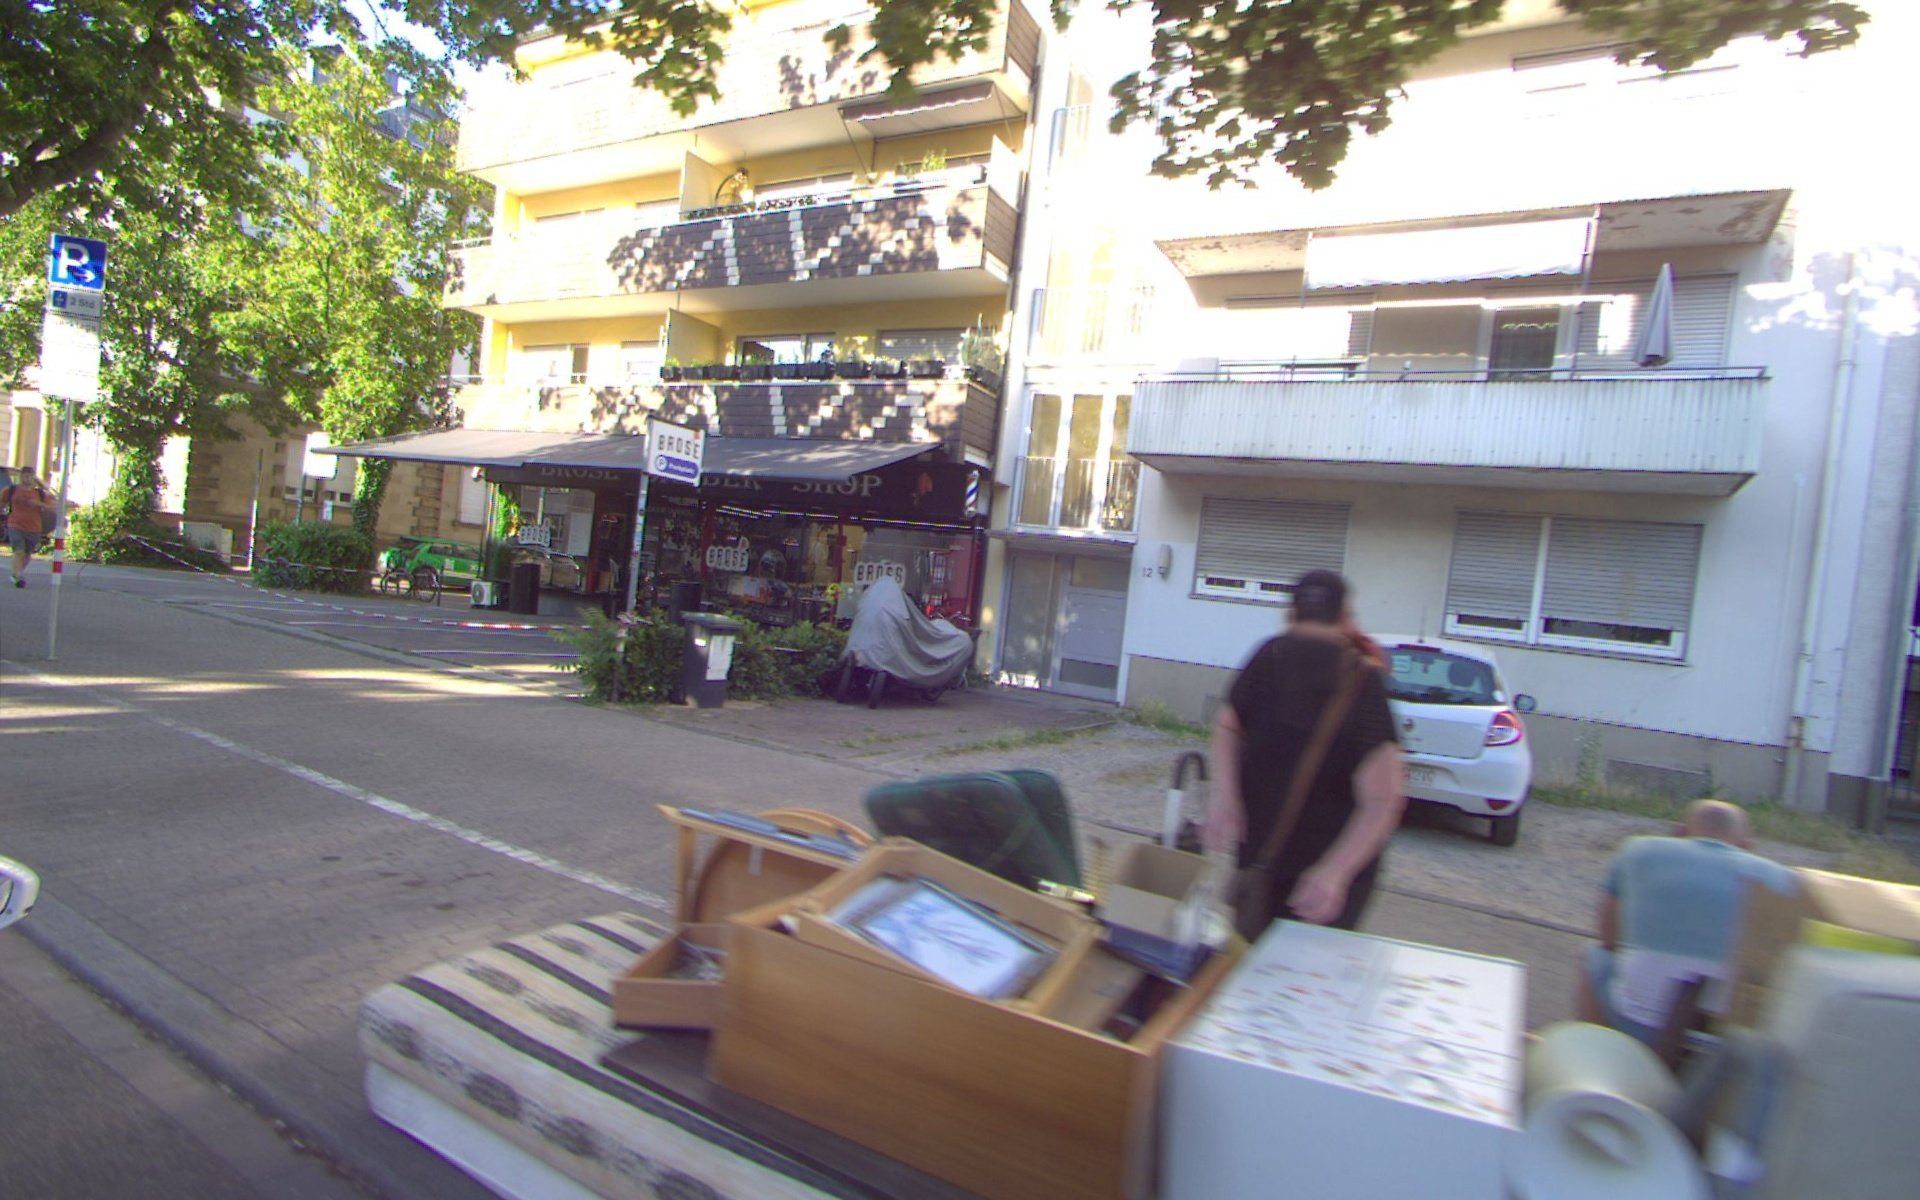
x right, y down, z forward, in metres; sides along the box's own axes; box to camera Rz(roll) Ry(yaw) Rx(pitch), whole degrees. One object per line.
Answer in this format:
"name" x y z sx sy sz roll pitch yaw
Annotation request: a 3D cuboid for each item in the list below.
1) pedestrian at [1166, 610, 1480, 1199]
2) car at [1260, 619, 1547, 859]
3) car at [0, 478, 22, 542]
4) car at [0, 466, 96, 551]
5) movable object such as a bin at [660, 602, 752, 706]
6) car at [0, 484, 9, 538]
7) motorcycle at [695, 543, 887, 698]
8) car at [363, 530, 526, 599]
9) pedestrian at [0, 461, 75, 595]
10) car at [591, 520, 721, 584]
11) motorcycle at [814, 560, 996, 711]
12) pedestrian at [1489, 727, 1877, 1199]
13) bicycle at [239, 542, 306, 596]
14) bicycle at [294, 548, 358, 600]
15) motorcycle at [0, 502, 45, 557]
"pedestrian" 0.881 0.805 2.695 0.470 1.495 1.065 7 1 12
"car" 4.135 1.097 9.229 1.793 1.480 3.994 7 0 27
"car" -26.946 -2.566 26.086 1.483 1.700 3.812 7 0 2
"car" -24.057 -2.376 24.438 1.878 1.916 4.548 7 0 4
"movable object such as a bin" -2.556 0.547 10.153 0.530 0.961 0.613 7 1 32
"car" -28.963 -2.717 27.720 1.483 1.544 3.813 7 0 9
"motorcycle" -1.949 0.289 11.946 0.720 1.641 2.193 8 1 37
"car" -15.714 -1.054 30.841 1.897 1.605 3.921 7 0 31
"pedestrian" -13.549 -1.044 14.528 0.890 1.819 0.757 7 1 26
"car" -8.964 -1.394 29.889 1.633 1.436 3.350 7 0 31
"motorcycle" -0.621 0.471 12.400 0.876 1.641 2.193 8 1 37
"pedestrian" 2.168 1.080 3.041 0.649 1.270 0.651 6 1 -35
"bicycle" -14.407 -0.660 21.073 1.554 0.961 0.343 7 -2 26
"bicycle" -13.524 -0.552 21.442 1.554 0.963 0.342 7 3 26
"motorcycle" -21.481 -1.616 22.005 0.516 1.139 2.056 7 0 26
